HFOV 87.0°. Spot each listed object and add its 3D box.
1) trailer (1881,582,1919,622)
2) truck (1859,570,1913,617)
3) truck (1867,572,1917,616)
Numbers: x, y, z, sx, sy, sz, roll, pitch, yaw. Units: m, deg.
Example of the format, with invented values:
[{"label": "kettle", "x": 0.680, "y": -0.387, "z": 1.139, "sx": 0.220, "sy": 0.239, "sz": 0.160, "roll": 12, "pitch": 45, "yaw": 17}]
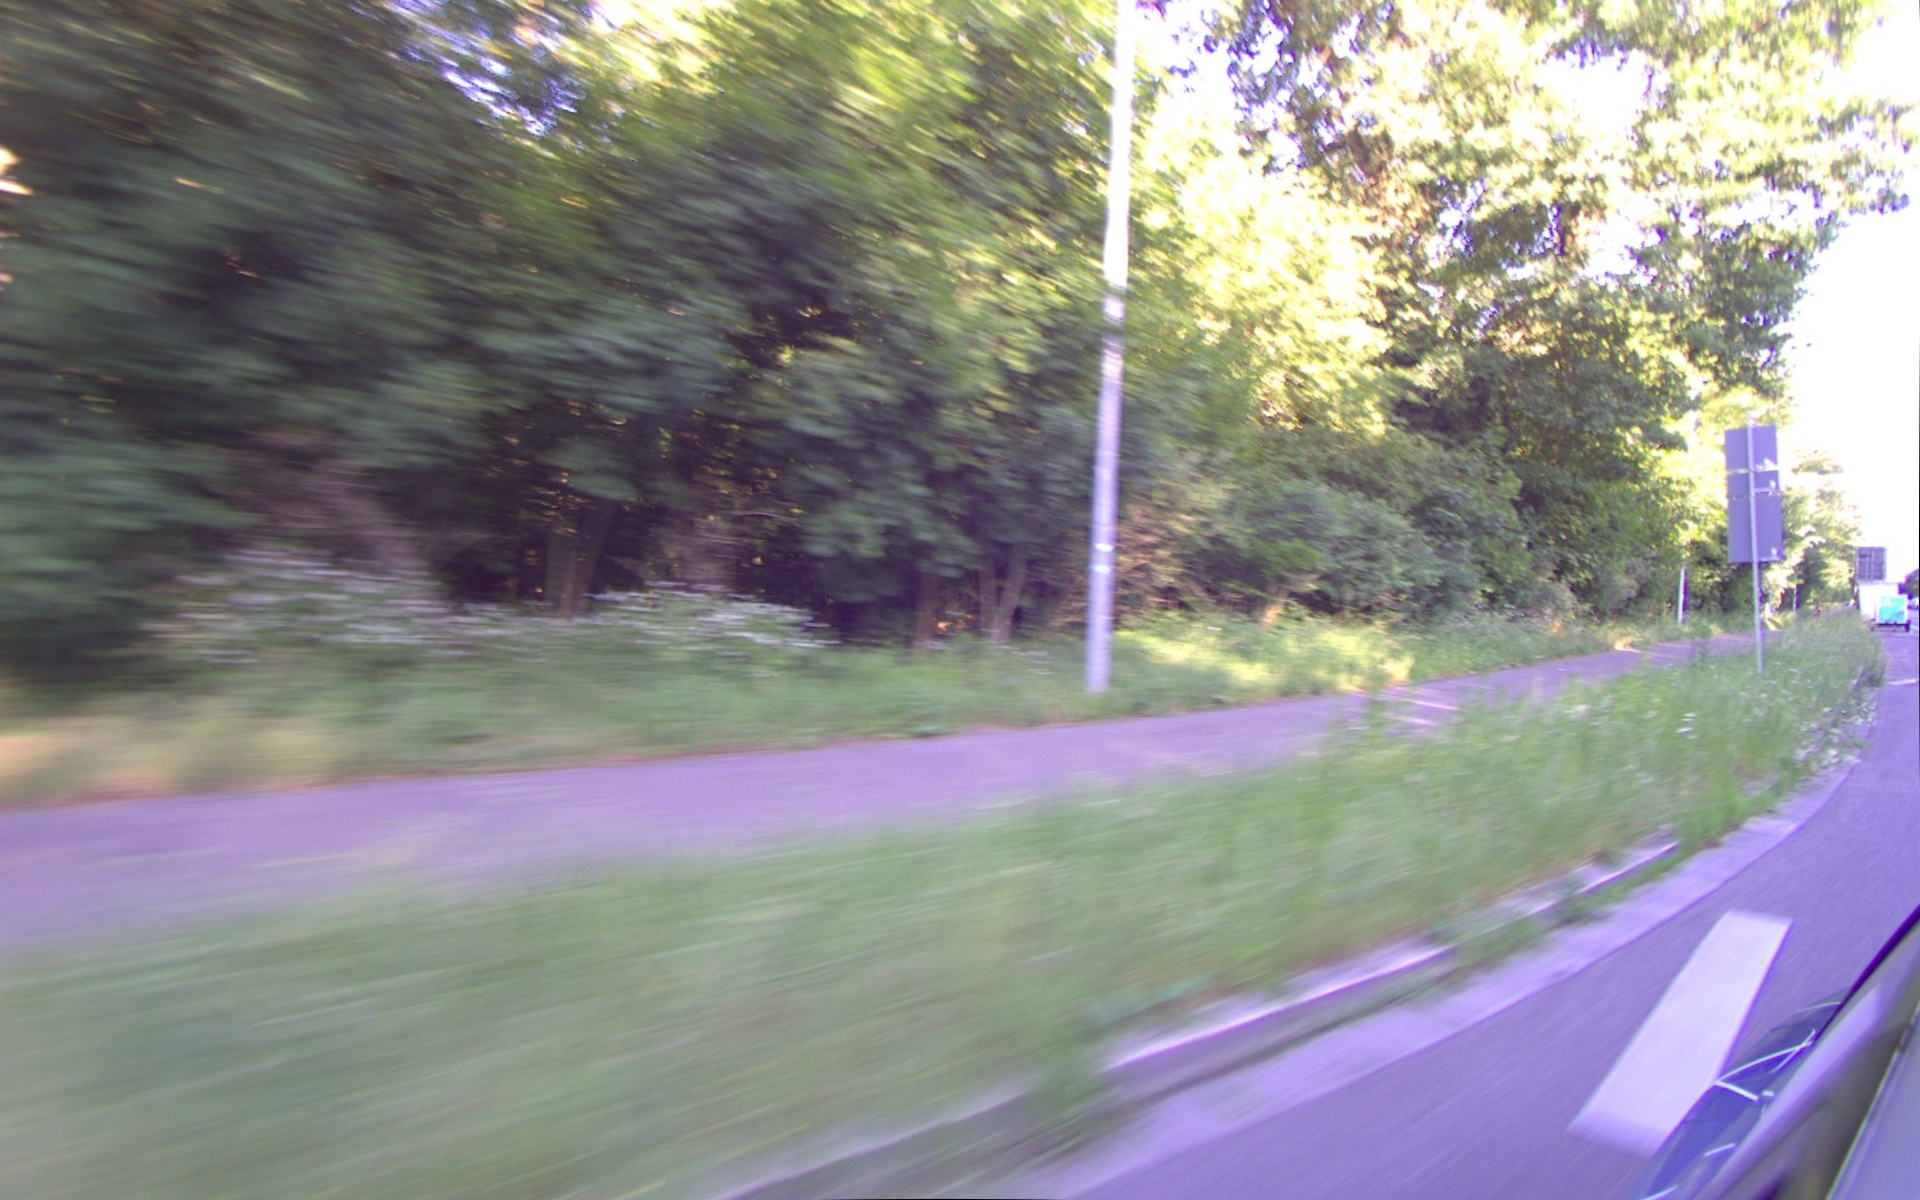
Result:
[{"label": "trailer", "x": 54.615, "y": 0.087, "z": 58.542, "sx": 1.863, "sy": 2.205, "sz": 4.068, "roll": 1, "pitch": 1, "yaw": 41}, {"label": "truck", "x": 71.148, "y": -0.561, "z": 77.857, "sx": 2.698, "sy": 3.276, "sz": 7.022, "roll": 5, "pitch": 4, "yaw": 41}, {"label": "truck", "x": 64.585, "y": -0.426, "z": 70.194, "sx": 2.381, "sy": 2.908, "sz": 5.515, "roll": 0, "pitch": 0, "yaw": 41}]
